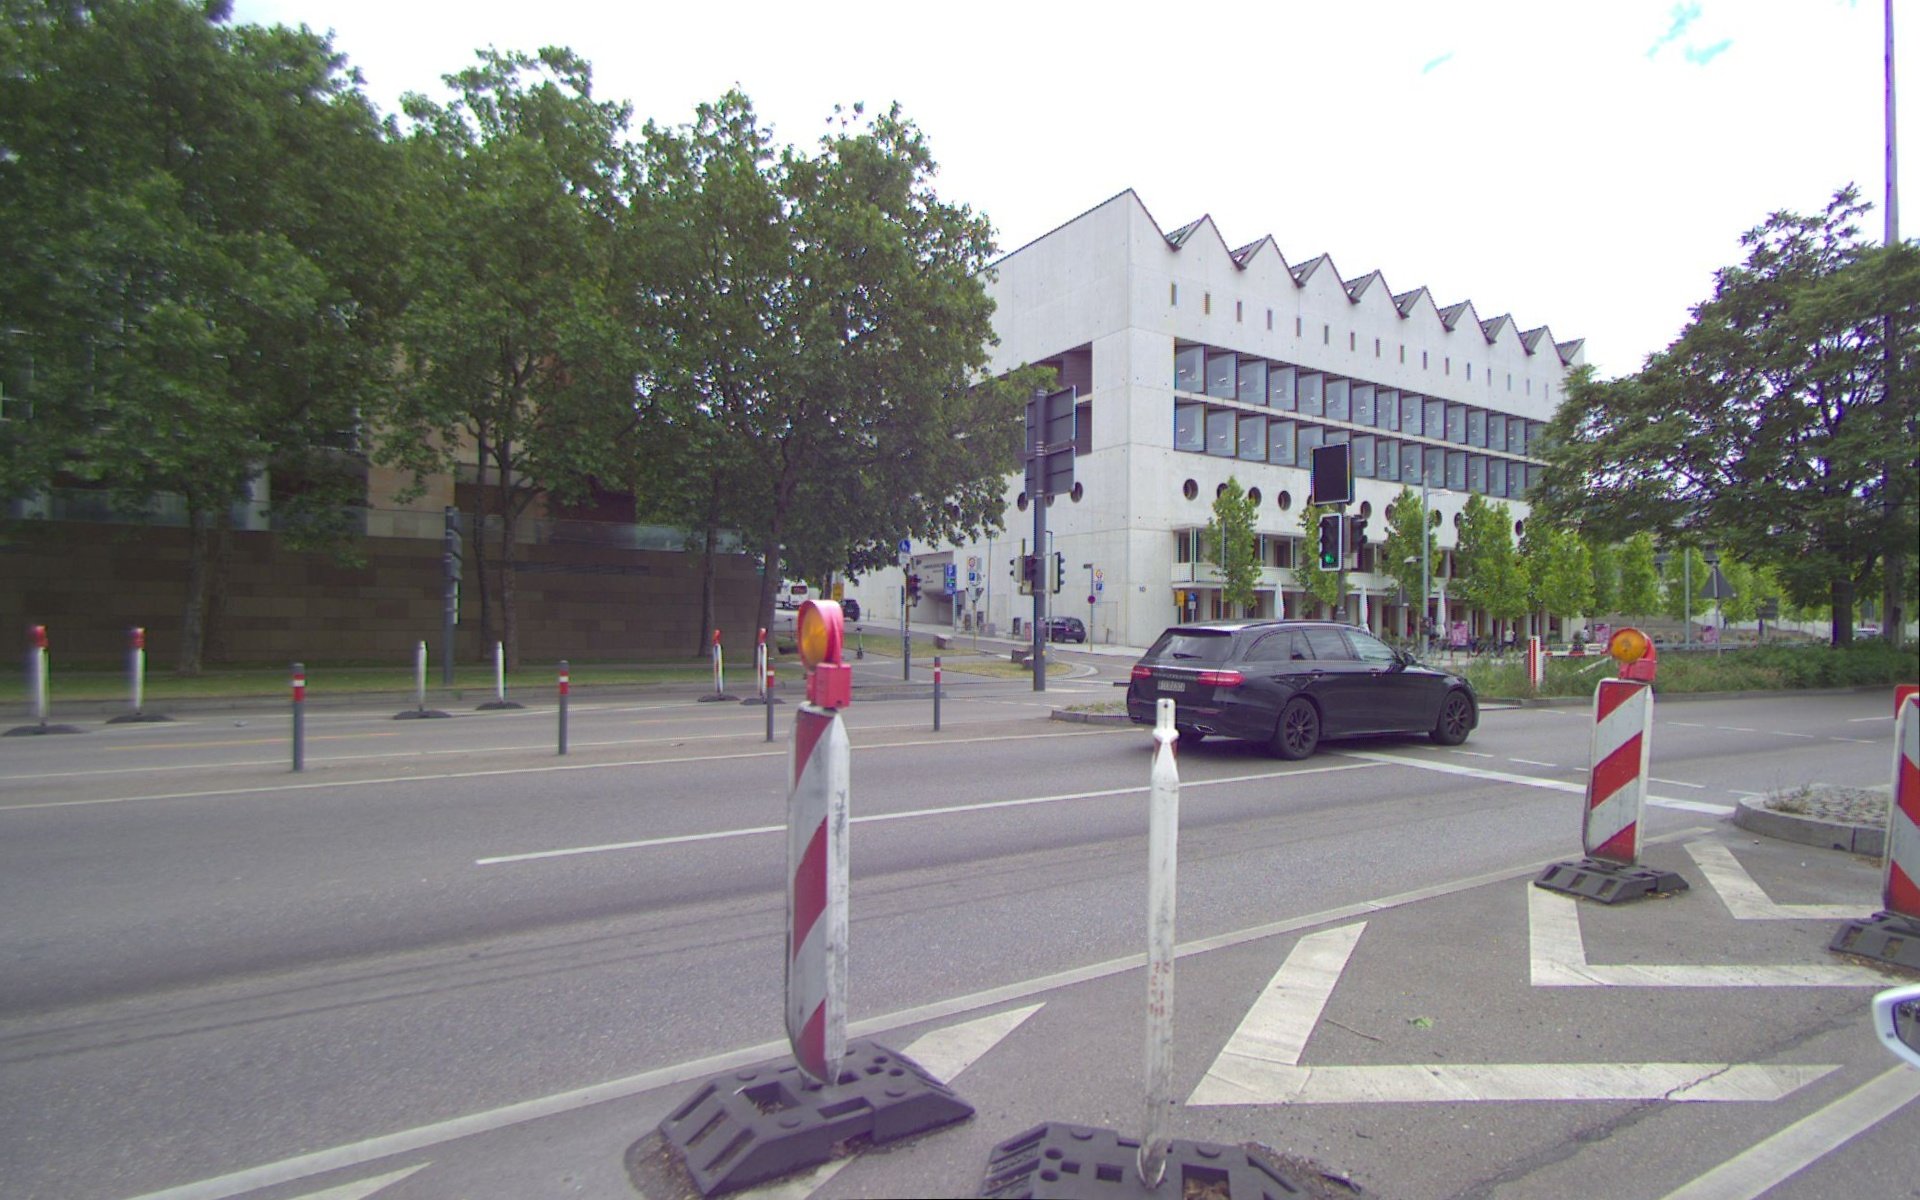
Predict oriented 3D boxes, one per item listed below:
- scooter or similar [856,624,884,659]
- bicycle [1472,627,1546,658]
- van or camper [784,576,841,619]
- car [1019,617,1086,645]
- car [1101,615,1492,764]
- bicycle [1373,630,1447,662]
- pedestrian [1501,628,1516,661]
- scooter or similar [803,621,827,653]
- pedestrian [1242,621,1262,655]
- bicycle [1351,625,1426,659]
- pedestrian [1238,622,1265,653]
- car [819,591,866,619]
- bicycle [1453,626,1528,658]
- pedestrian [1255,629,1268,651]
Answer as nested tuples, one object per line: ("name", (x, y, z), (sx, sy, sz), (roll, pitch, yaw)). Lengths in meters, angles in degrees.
("scooter or similar", (-3.596, 1.654, 40.133), (0.532, 1.358, 1.407), (1, -1, -31))
("bicycle", (31.365, 2.424, 57.453), (1.174, 1.706, 3.581), (1, -2, -41))
("van or camper", (-12.588, -0.259, 85.129), (2.370, 3.391, 6.276), (2, 0, -32))
("car", (5.179, 1.750, 56.773), (1.732, 1.293, 3.965), (2, 1, -31))
("car", (4.145, 0.991, 12.066), (4.808, 1.479, 1.803), (2, -2, -32))
("bicycle", (24.225, 2.451, 54.172), (1.170, 1.706, 3.593), (1, -2, -32))
("pedestrian", (34.911, 2.849, 63.907), (0.699, 2.040, 0.738), (-2, 0, 25))
("scooter or similar", (-6.296, 1.610, 43.630), (0.532, 1.358, 1.407), (1, -1, -31))
("pedestrian", (13.794, 1.789, 47.470), (0.865, 1.577, 0.598), (0, -1, 16))
("bicycle", (22.423, 2.177, 52.661), (1.170, 1.706, 3.593), (1, -2, -32))
("pedestrian", (15.327, 1.965, 52.762), (0.751, 1.589, 1.094), (2, 0, -28))
("car", (-8.720, 0.363, 74.331), (1.977, 1.874, 3.966), (2, 1, -31))
("bicycle", (29.724, 2.341, 56.354), (1.174, 1.706, 3.581), (1, -2, -41))
("pedestrian", (18.099, 2.399, 60.268), (0.559, 1.344, 0.516), (3, -3, -31))
